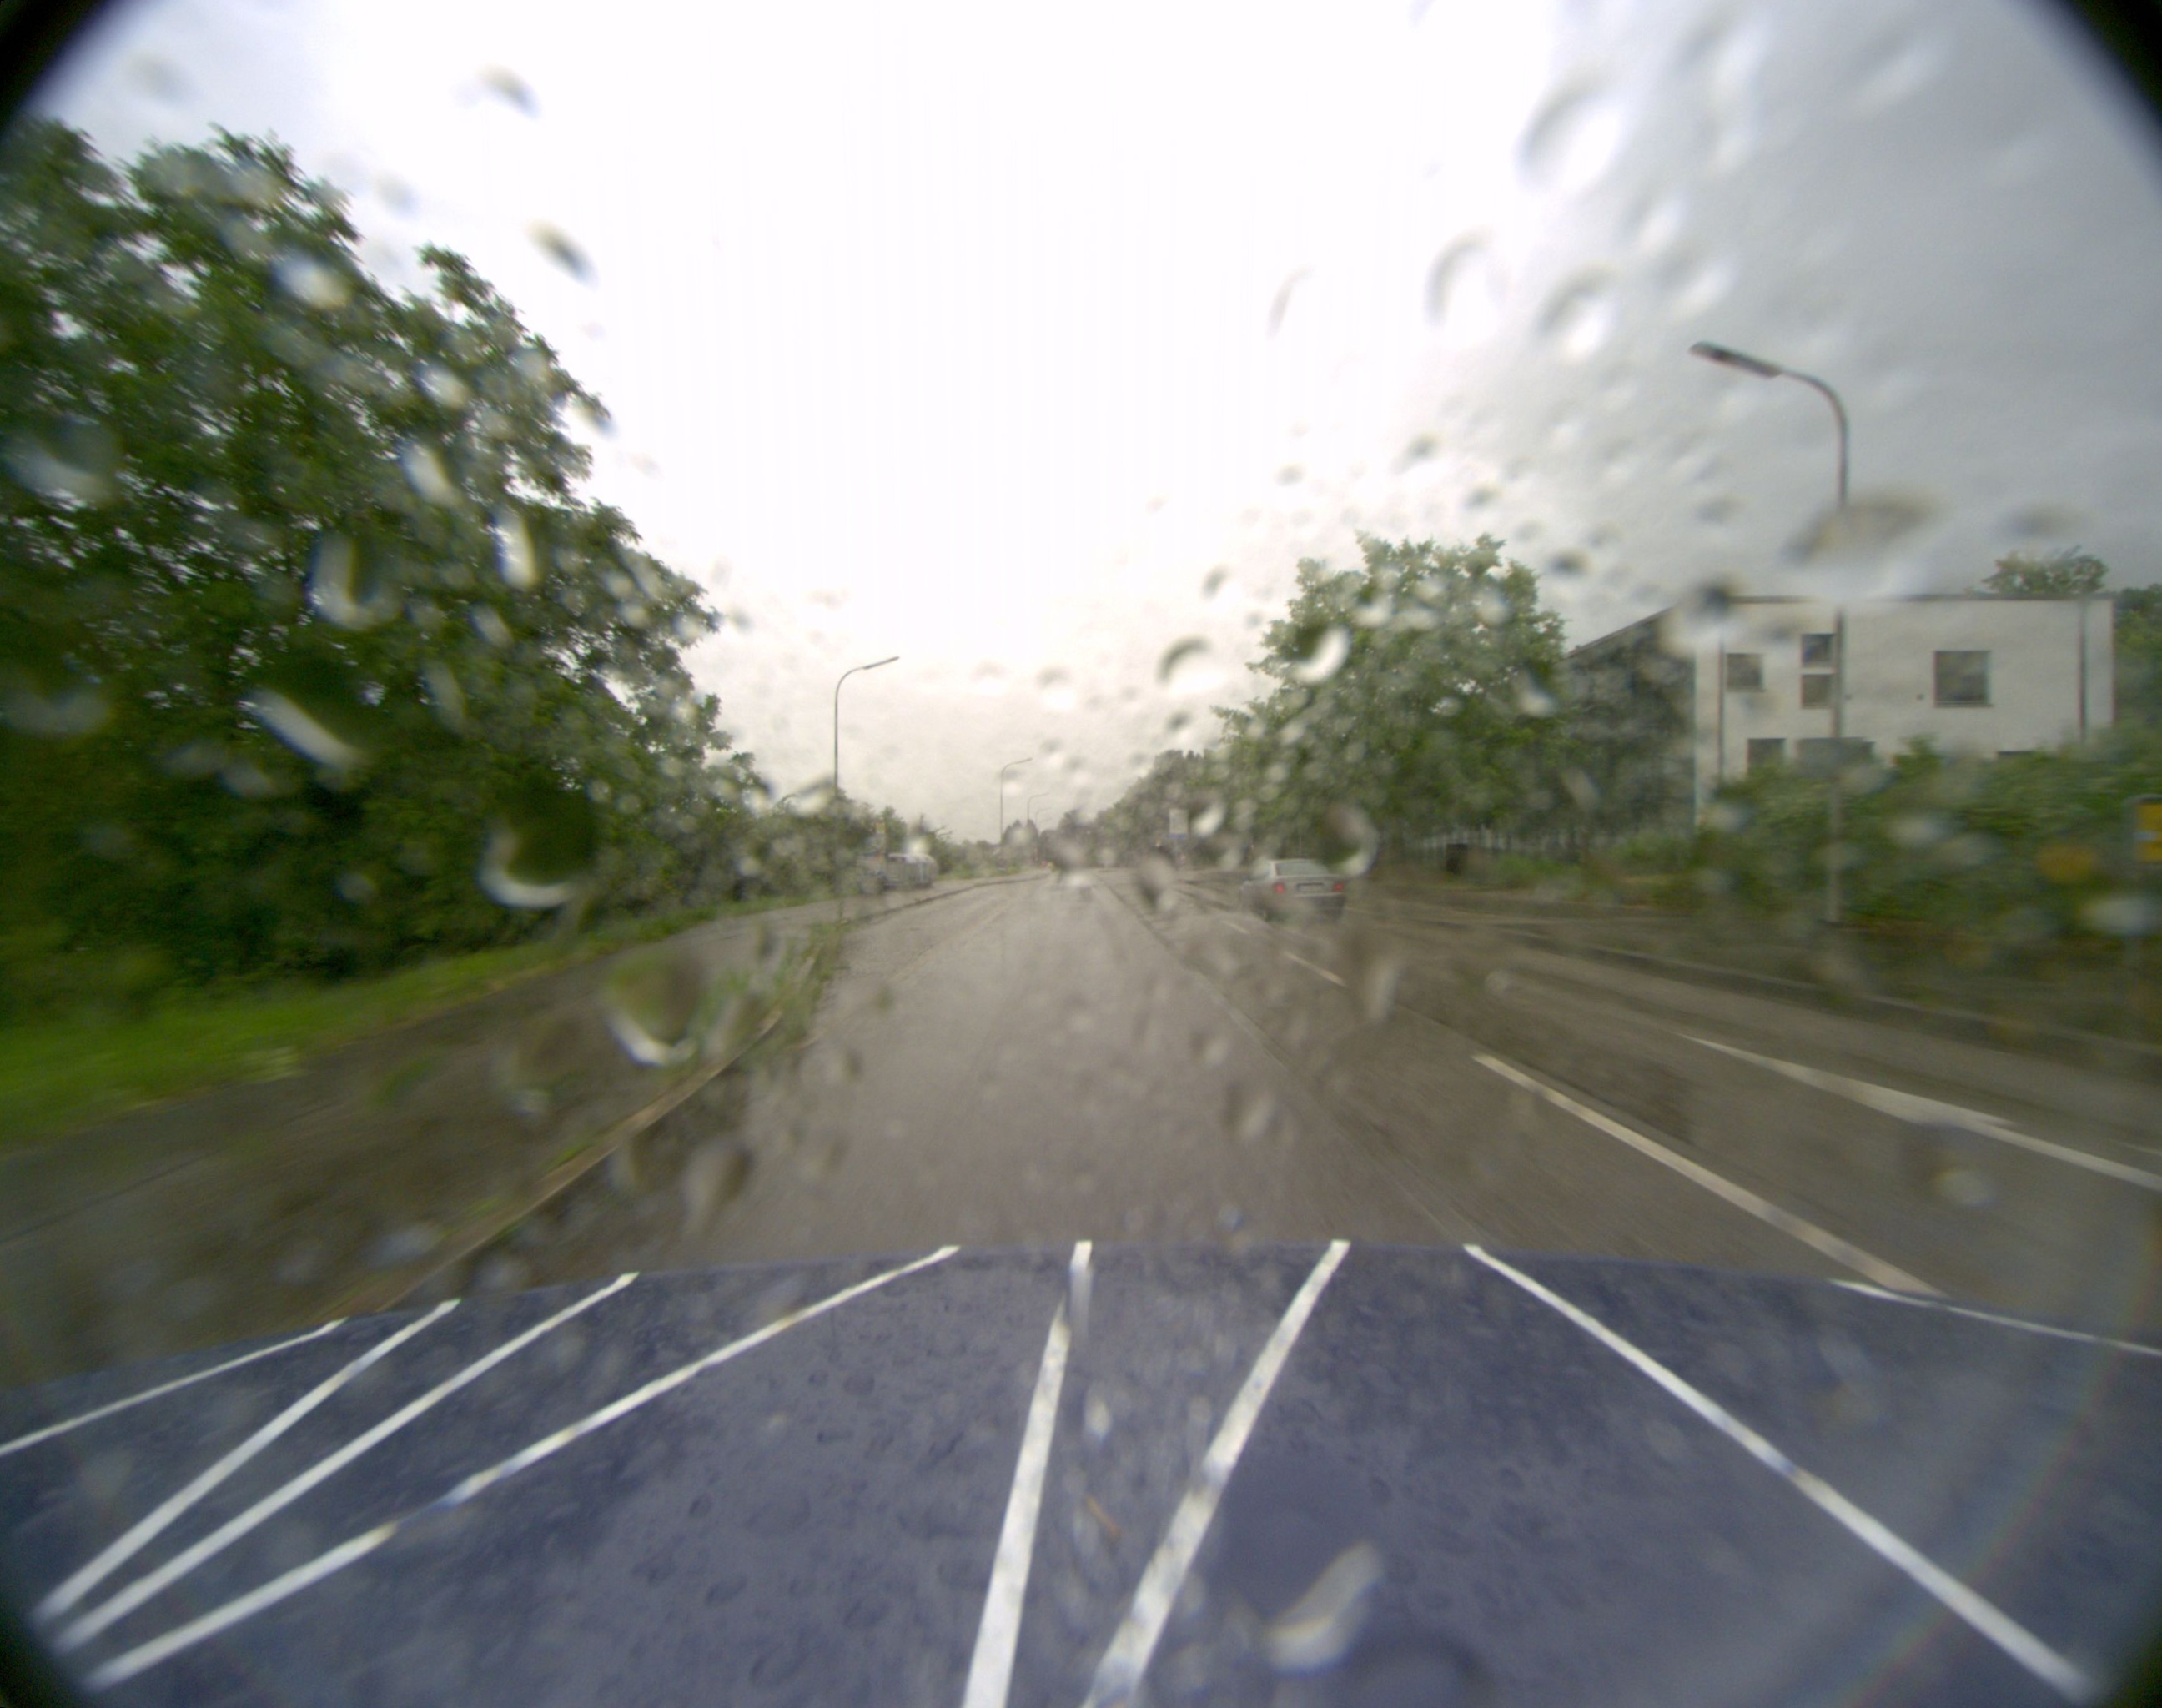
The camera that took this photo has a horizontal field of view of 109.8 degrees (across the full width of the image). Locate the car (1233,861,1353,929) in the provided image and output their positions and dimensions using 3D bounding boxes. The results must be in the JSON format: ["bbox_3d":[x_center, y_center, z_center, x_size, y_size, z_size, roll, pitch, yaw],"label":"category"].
[{"bbox_3d":[4.713,0.853,17.429,1.706,1.341,3.905,-1,0,1],"label":"car"}]

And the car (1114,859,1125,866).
[{"bbox_3d":[7.985,1.756,158.036,1.692,1.411,4.740,0,-1,-5],"label":"car"}]
